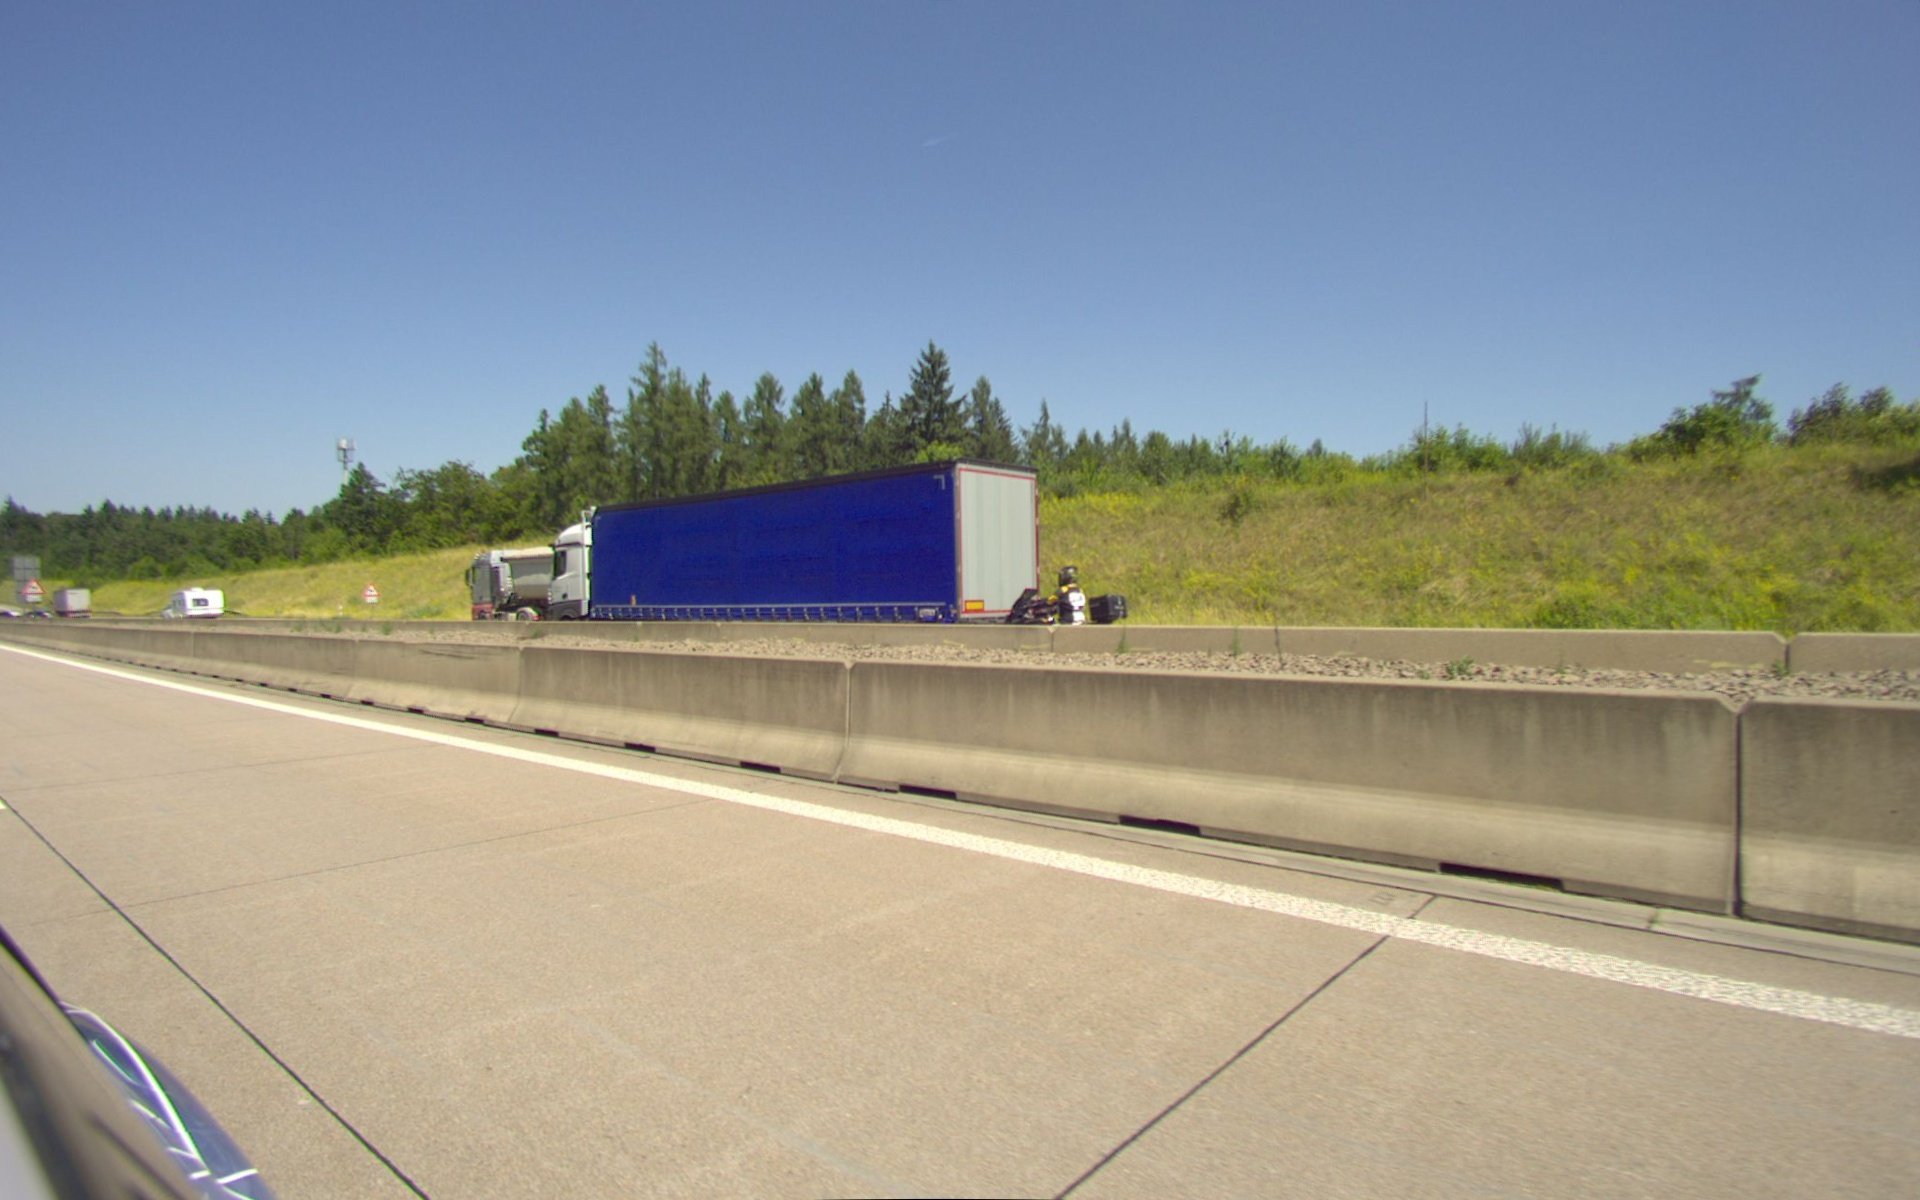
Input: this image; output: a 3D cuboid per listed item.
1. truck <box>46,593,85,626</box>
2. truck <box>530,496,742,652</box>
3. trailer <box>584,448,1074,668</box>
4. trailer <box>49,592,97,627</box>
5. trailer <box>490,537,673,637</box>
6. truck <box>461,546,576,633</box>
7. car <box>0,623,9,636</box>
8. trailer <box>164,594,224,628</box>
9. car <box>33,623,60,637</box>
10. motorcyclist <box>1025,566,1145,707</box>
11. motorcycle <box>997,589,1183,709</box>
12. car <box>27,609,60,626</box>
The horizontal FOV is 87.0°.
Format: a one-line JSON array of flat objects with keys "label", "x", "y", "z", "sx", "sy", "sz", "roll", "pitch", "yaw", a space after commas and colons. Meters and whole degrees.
[{"label": "truck", "x": -127.610, "y": 1.347, "z": 144.385, "sx": 6.800, "sy": 4.464, "sz": 3.351, "roll": 0, "pitch": 2, "yaw": 43}, {"label": "truck", "x": -9.300, "y": -0.697, "z": 28.826, "sx": 5.834, "sy": 3.961, "sz": 3.128, "roll": -1, "pitch": 2, "yaw": 41}, {"label": "trailer", "x": -3.930, "y": -0.767, "z": 24.044, "sx": 13.861, "sy": 3.961, "sz": 3.128, "roll": 0, "pitch": 2, "yaw": 42}, {"label": "trailer", "x": -122.344, "y": 1.307, "z": 139.521, "sx": 13.923, "sy": 4.464, "sz": 3.351, "roll": 0, "pitch": 2, "yaw": 43}, {"label": "trailer", "x": -14.728, "y": -0.478, "z": 38.892, "sx": 8.954, "sy": 3.438, "sz": 2.696, "roll": 0, "pitch": 2, "yaw": 42}, {"label": "truck", "x": -18.510, "y": -0.450, "z": 42.369, "sx": 4.511, "sy": 3.438, "sz": 2.696, "roll": -1, "pitch": 2, "yaw": 42}, {"label": "car", "x": -119.604, "y": 3.718, "z": 125.621, "sx": 4.498, "sy": 1.570, "sz": 1.972, "roll": -1, "pitch": 0, "yaw": 43}, {"label": "trailer", "x": -63.733, "y": 0.957, "z": 84.133, "sx": 7.780, "sy": 2.651, "sz": 2.578, "roll": -1, "pitch": 0, "yaw": 43}, {"label": "car", "x": -110.760, "y": 3.604, "z": 122.691, "sx": 4.498, "sy": 1.570, "sz": 1.972, "roll": -1, "pitch": 0, "yaw": 43}, {"label": "motorcyclist", "x": 1.768, "y": 0.503, "z": 14.407, "sx": 1.491, "sy": 1.888, "sz": 0.810, "roll": -1, "pitch": -1, "yaw": 41}, {"label": "motorcycle", "x": 1.809, "y": 0.657, "z": 14.419, "sx": 2.482, "sy": 1.561, "sz": 0.997, "roll": -1, "pitch": -1, "yaw": 41}, {"label": "car", "x": -87.223, "y": 1.695, "z": 96.269, "sx": 4.000, "sy": 1.530, "sz": 1.972, "roll": -1, "pitch": 0, "yaw": 43}]
